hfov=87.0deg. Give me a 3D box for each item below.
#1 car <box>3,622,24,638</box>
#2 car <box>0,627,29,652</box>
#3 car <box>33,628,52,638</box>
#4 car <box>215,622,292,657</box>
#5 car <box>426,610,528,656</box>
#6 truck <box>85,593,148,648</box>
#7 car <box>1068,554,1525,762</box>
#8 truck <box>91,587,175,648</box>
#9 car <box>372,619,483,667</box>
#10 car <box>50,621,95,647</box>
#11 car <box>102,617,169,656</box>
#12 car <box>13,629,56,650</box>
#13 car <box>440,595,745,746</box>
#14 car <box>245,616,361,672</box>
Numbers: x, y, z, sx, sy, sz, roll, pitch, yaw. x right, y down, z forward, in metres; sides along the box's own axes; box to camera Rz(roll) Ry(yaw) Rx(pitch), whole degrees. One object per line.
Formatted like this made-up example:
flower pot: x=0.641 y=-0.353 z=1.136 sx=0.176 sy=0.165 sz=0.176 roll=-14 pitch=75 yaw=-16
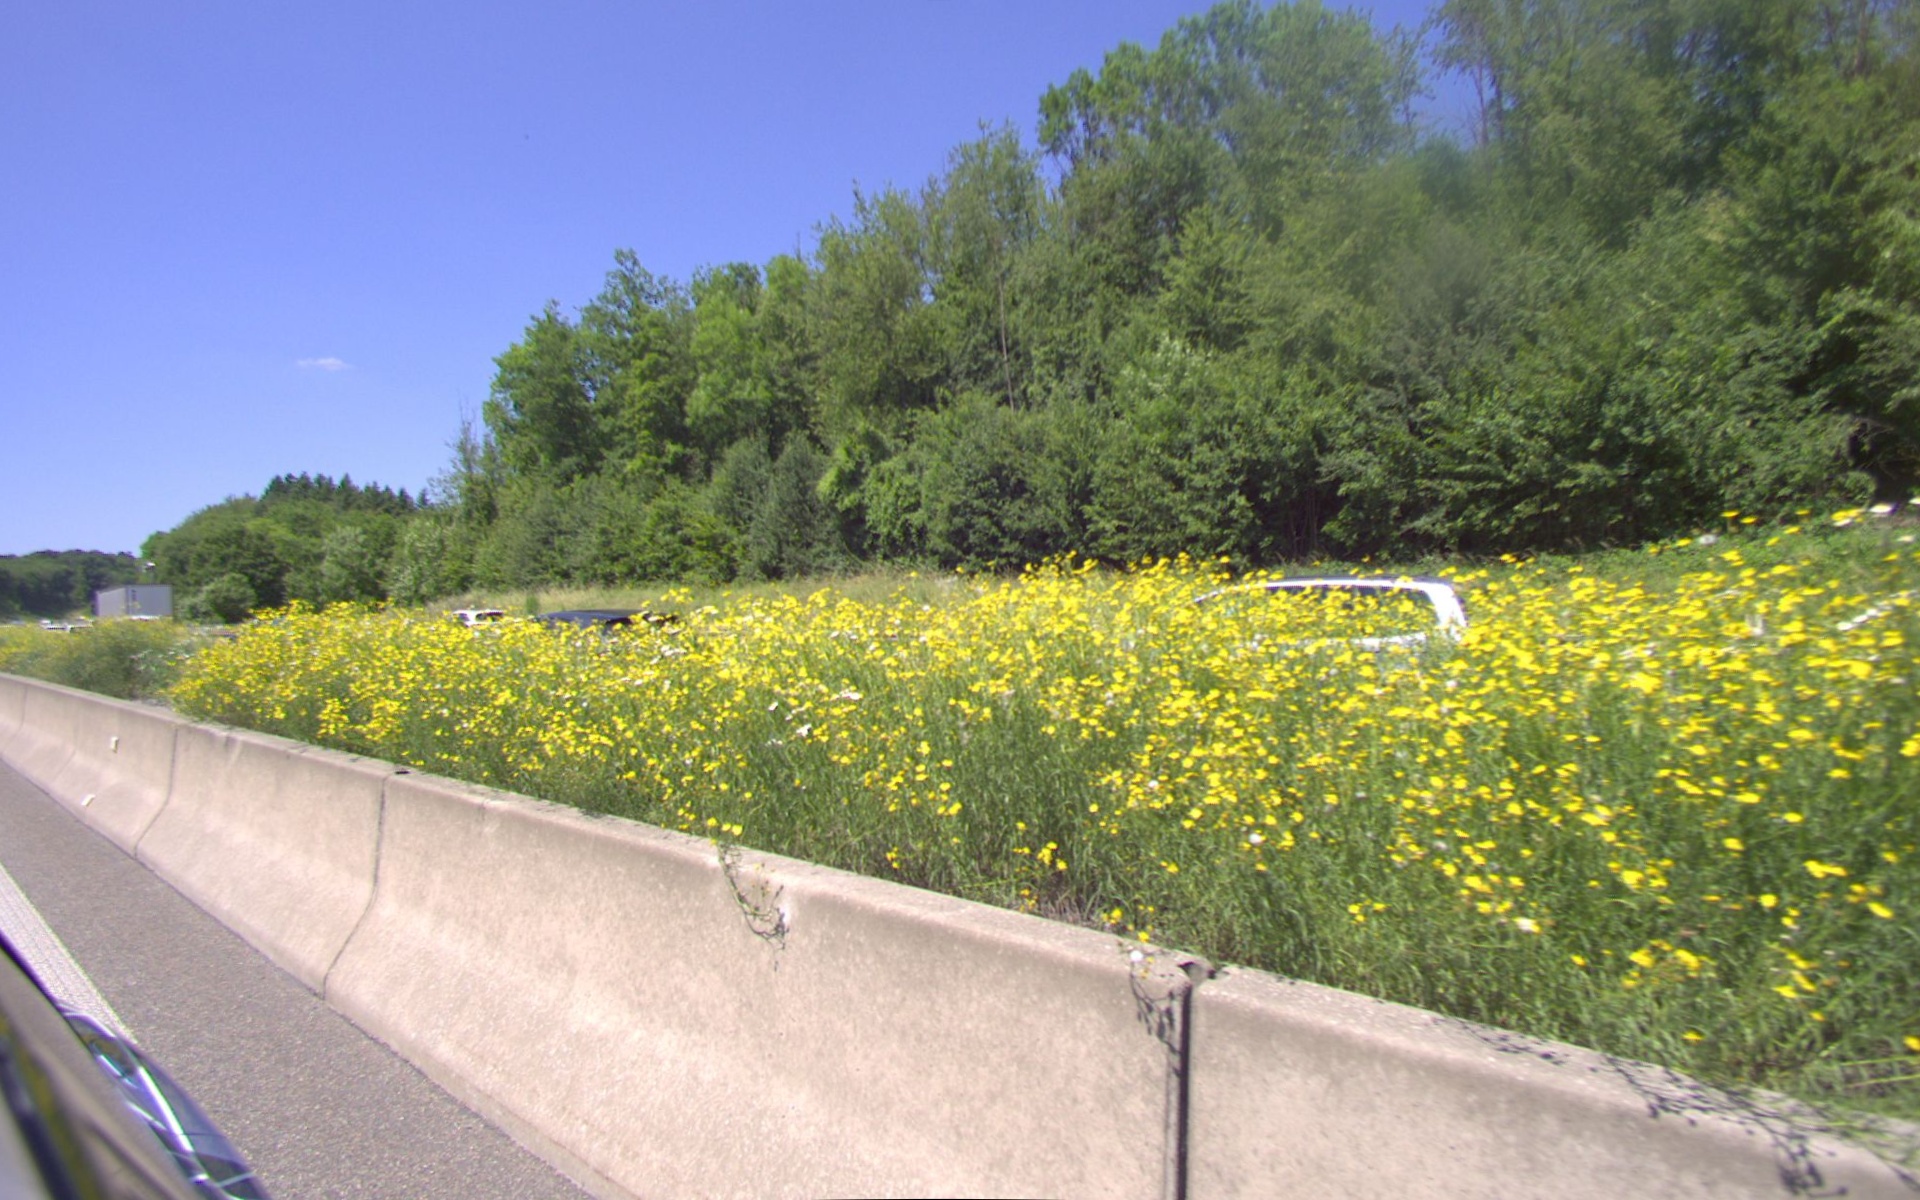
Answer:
car: x=-164.232 y=5.189 z=175.555 sx=6.063 sy=2.722 sz=2.191 roll=-2 pitch=-1 yaw=43
car: x=-59.083 y=2.433 z=62.484 sx=4.657 sy=1.514 sz=1.918 roll=-2 pitch=-1 yaw=41
car: x=-139.048 y=5.043 z=153.345 sx=4.000 sy=1.464 sz=1.820 roll=-2 pitch=-1 yaw=43
car: x=-32.027 y=1.765 z=45.819 sx=3.998 sy=1.503 sz=1.973 roll=-2 pitch=-1 yaw=41
car: x=-19.508 y=1.320 z=40.782 sx=4.765 sy=1.705 sz=1.973 roll=-2 pitch=-1 yaw=41
truck: x=-63.287 y=1.527 z=75.886 sx=6.006 sy=3.969 sz=2.798 roll=-2 pitch=-1 yaw=42
car: x=3.334 y=0.523 z=10.506 sx=4.146 sy=1.747 sz=1.719 roll=-2 pitch=-1 yaw=41
truck: x=-58.763 y=1.314 z=71.724 sx=13.744 sy=3.968 sz=2.798 roll=-2 pitch=-1 yaw=43
car: x=-17.866 y=1.407 z=33.898 sx=4.005 sy=1.455 sz=1.973 roll=-2 pitch=-1 yaw=41
car: x=-55.298 y=2.110 z=63.048 sx=3.881 sy=1.509 sz=1.658 roll=-2 pitch=-1 yaw=42
car: x=-40.166 y=1.745 z=49.270 sx=4.275 sy=1.768 sz=1.865 roll=-2 pitch=-1 yaw=41
car: x=-69.705 y=2.965 z=76.177 sx=4.246 sy=1.509 sz=1.973 roll=-2 pitch=-1 yaw=42
car: x=-4.508 y=0.750 z=12.138 sx=3.998 sy=1.510 sz=1.718 roll=-2 pitch=-1 yaw=41
car: x=-20.249 y=1.326 z=31.127 sx=4.063 sy=1.584 sz=1.973 roll=-2 pitch=-1 yaw=41
